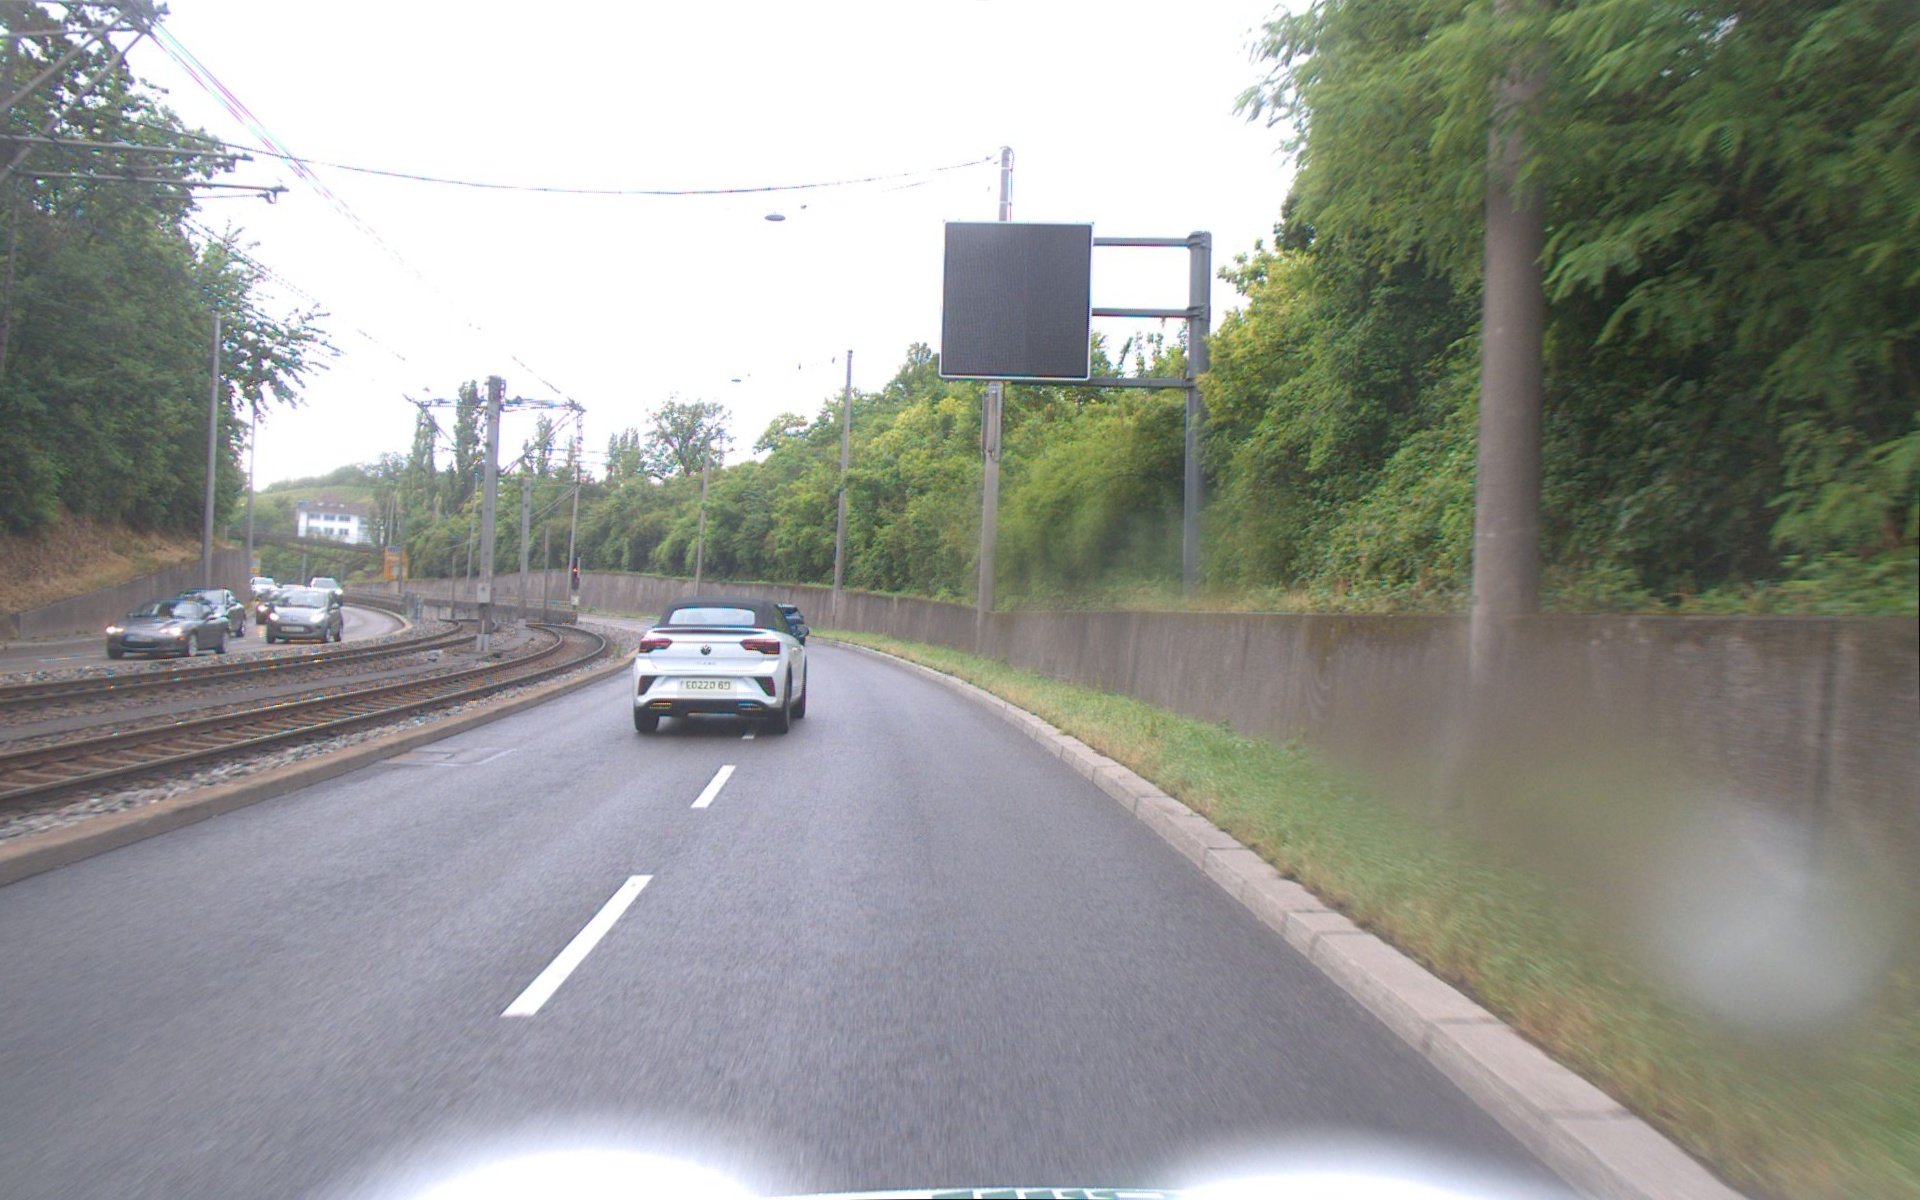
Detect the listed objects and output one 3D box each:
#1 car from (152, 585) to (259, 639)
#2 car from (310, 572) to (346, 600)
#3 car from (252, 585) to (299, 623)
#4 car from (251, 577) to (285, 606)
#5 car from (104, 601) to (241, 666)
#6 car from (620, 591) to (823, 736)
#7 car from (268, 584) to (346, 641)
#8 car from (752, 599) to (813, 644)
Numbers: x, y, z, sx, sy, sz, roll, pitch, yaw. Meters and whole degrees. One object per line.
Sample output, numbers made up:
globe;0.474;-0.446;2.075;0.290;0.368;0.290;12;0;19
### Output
car;-21.963;0.326;48.320;1.784;1.487;4.647;0;0;-11
car;-42.965;-0.952;112.431;1.904;1.818;4.414;1;0;-26
car;-28.452;0.145;68.691;1.721;1.542;4.543;0;0;-23
car;-50.276;-0.633;120.184;1.964;2.049;3.977;2;0;-20
car;-16.607;0.677;35.059;1.514;1.280;3.952;-1;0;-8
car;-2.770;0.680;20.210;1.833;1.551;4.540;1;0;0
car;-18.326;0.334;46.513;1.511;1.517;3.608;-1;0;-13
car;-6.479;0.766;60.074;1.733;1.527;3.987;2;0;-13
